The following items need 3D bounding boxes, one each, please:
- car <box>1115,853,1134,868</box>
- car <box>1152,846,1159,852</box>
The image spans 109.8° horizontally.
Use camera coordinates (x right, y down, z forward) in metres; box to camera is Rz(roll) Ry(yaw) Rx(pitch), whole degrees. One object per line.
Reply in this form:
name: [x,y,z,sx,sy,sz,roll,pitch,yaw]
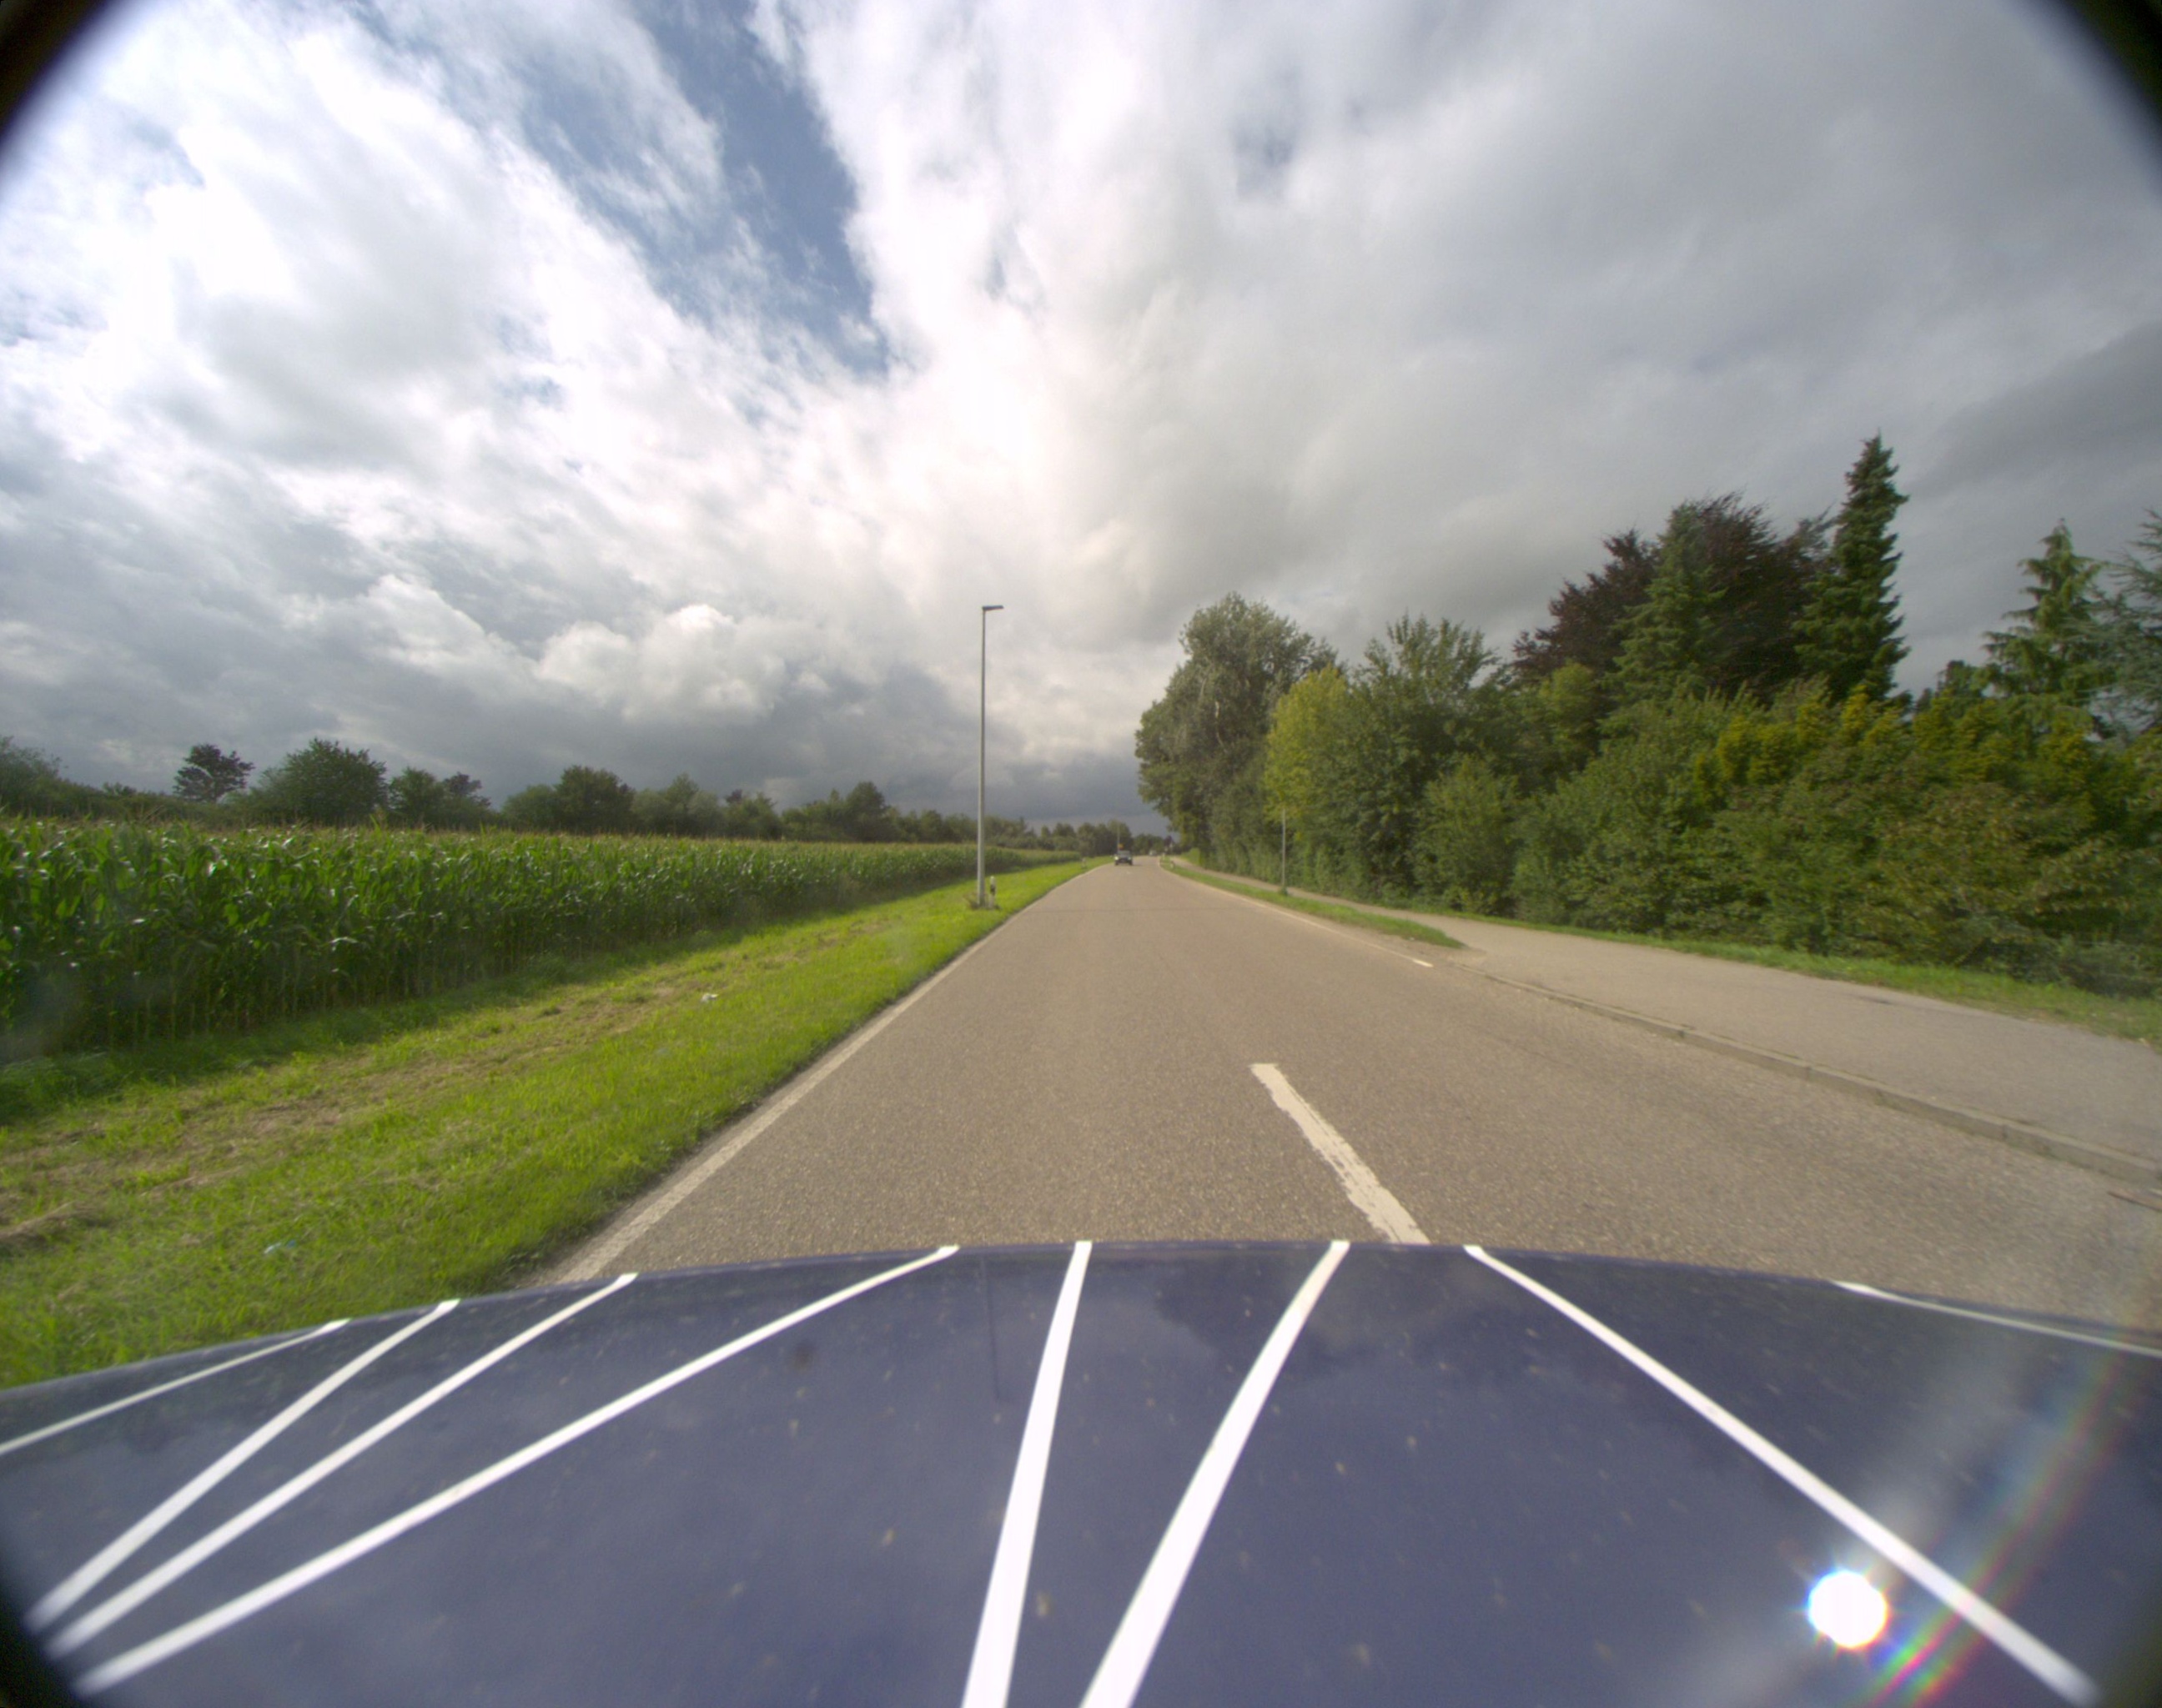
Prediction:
car: [4.999,0.728,86.296,1.998,1.594,4.001,-1,1,6]
car: [19.977,-1.418,203.354,1.814,1.641,4.294,1,1,6]
